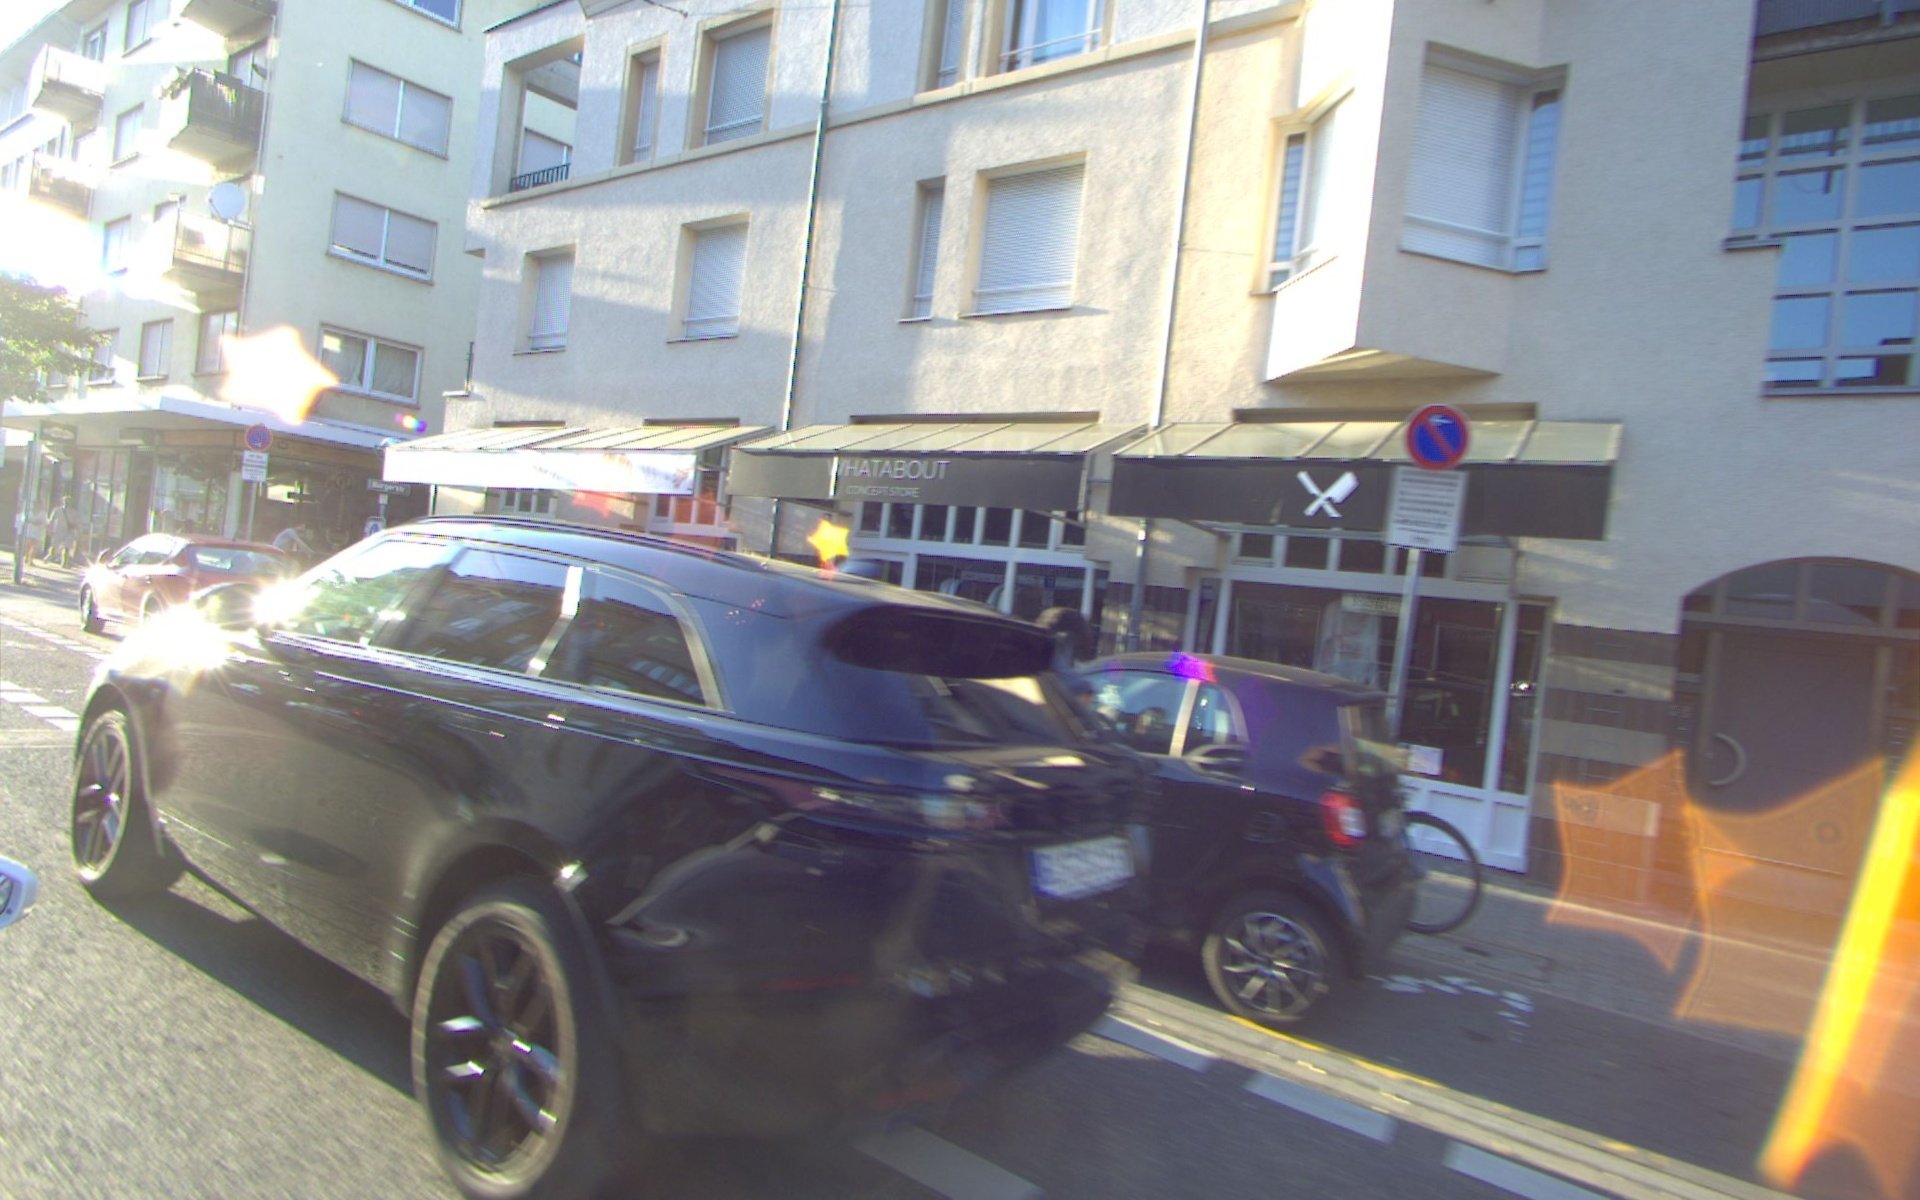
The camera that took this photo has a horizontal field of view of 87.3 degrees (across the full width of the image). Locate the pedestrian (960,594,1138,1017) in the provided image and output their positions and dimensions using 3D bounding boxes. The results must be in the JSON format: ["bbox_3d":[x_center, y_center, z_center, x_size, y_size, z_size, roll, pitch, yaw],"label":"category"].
[{"bbox_3d":[0.401,0.848,4.384,0.555,1.686,0.443,6,1,10],"label":"pedestrian"}]

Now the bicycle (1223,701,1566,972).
[{"bbox_3d":[2.647,1.383,6.257,1.795,1.250,0.397,7,1,33],"label":"bicycle"}]

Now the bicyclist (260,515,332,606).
[{"bbox_3d":[-13.722,-0.799,20.801,1.085,1.723,0.647,7,0,-34],"label":"bicyclist"}]

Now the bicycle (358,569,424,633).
[{"bbox_3d":[-10.921,0.001,19.285,1.690,1.051,0.287,6,0,34],"label":"bicycle"}]

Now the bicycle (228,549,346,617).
[{"bbox_3d":[-13.854,-0.341,20.757,1.913,1.169,0.647,7,0,-34],"label":"bicycle"}]

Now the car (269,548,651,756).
[{"bbox_3d":[-4.926,0.423,9.764,3.698,1.442,1.634,6,0,34],"label":"car"}]

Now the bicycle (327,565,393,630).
[{"bbox_3d":[-11.302,-0.053,18.932,1.690,1.051,0.287,6,0,34],"label":"bicycle"}]

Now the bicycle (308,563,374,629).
[{"bbox_3d":[-11.555,-0.090,18.756,1.690,1.051,0.287,6,0,34],"label":"bicycle"}]

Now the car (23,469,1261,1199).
[{"bbox_3d":[-1.523,0.580,3.860,4.600,1.674,1.998,6,-3,35],"label":"car"}]

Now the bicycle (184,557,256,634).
[{"bbox_3d":[-11.715,-0.091,15.912,1.690,1.051,0.292,6,0,34],"label":"bicycle"}]

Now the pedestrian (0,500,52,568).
[{"bbox_3d":[-23.238,-1.645,25.014,0.849,1.578,0.688,7,0,36],"label":"pedestrian"}]

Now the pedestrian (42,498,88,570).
[{"bbox_3d":[-22.709,-1.673,25.518,0.706,1.743,0.687,7,1,41],"label":"pedestrian"}]

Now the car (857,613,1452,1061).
[{"bbox_3d":[1.056,1.033,5.506,2.650,1.573,1.634,7,0,32],"label":"car"}]

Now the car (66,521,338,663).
[{"bbox_3d":[-10.096,-0.134,13.319,3.870,1.454,1.703,6,0,35],"label":"car"}]
